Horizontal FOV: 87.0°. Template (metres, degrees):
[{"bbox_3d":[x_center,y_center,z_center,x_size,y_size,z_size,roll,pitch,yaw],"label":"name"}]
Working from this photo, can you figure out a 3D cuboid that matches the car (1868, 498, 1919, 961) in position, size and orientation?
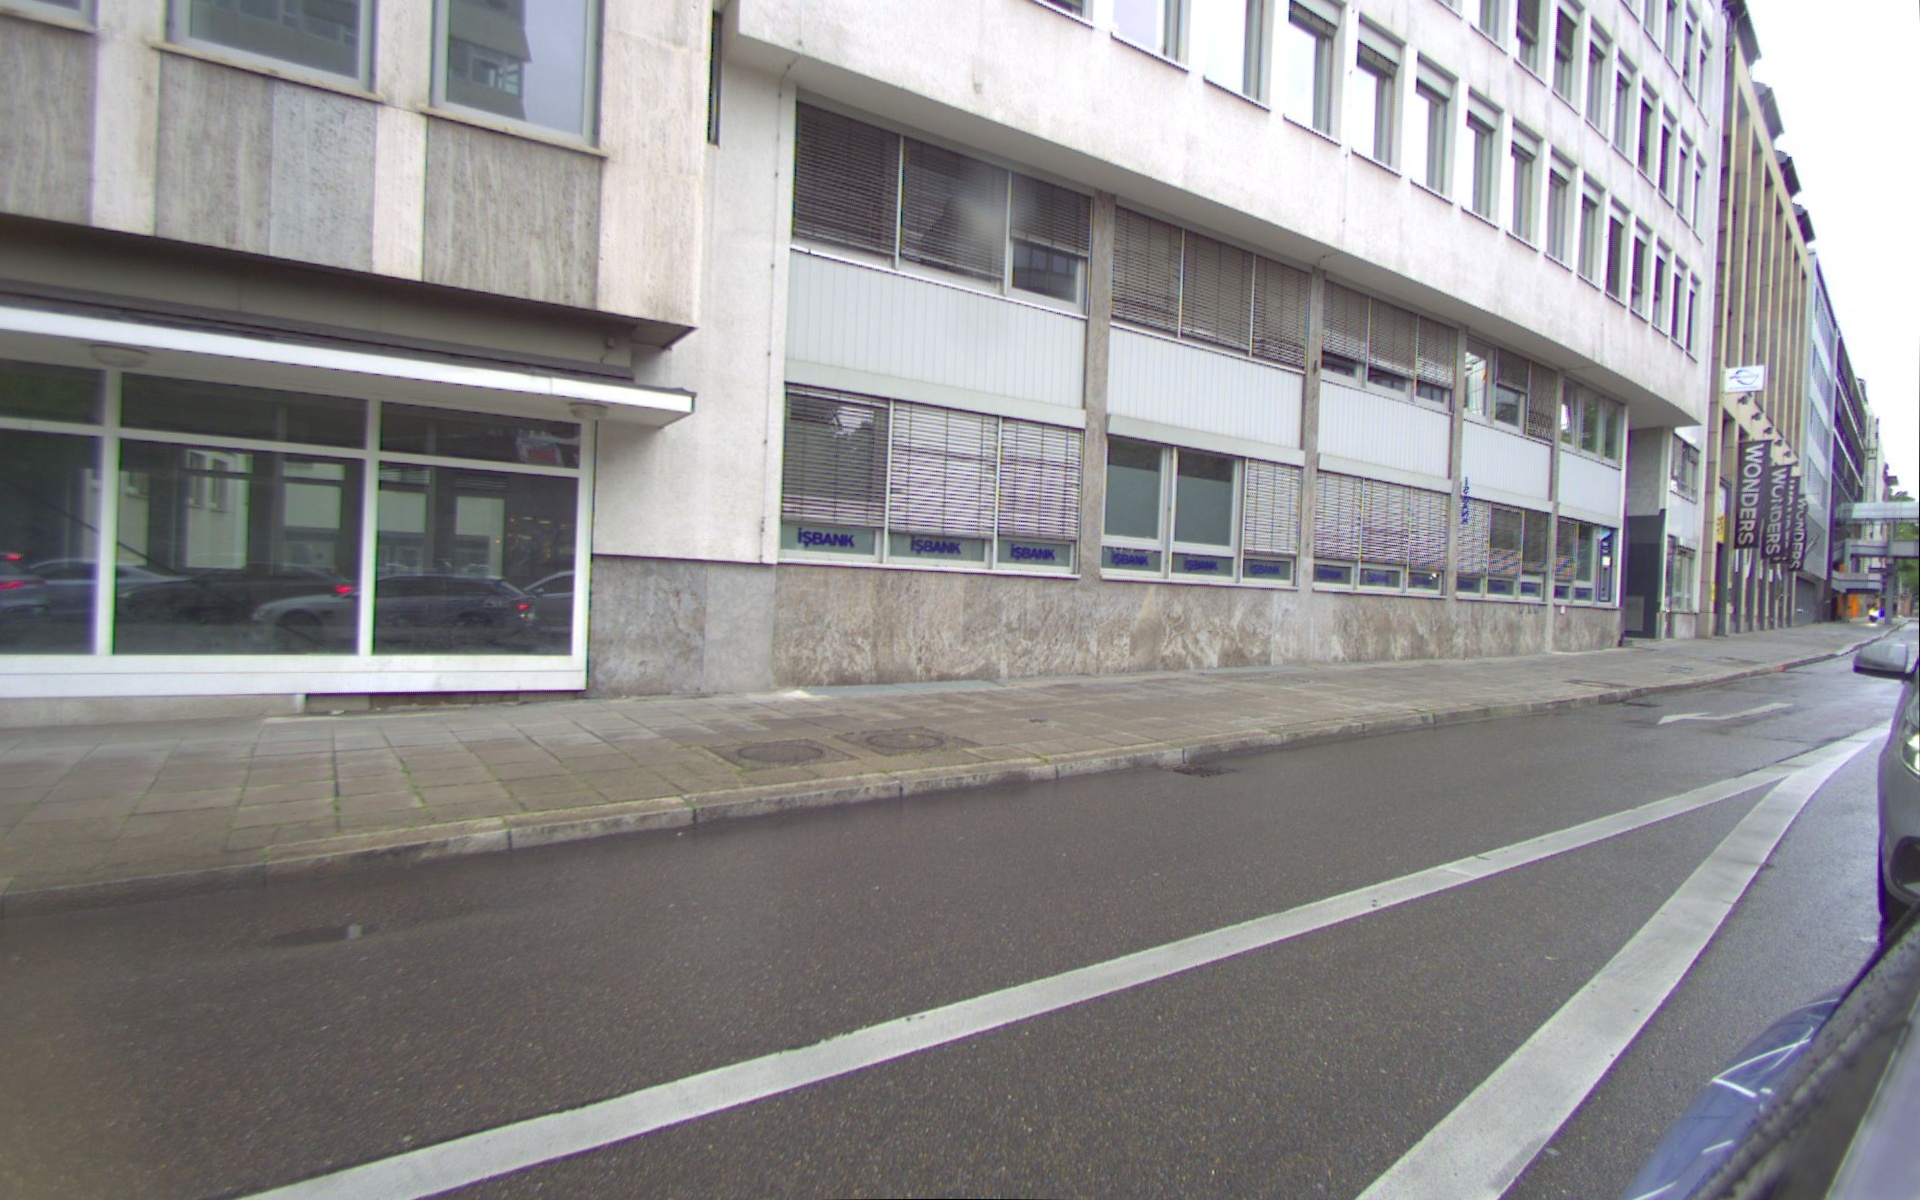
[{"bbox_3d":[6.260,0.540,5.175,4.940,1.879,1.914,0,0,-42],"label":"car"}]
